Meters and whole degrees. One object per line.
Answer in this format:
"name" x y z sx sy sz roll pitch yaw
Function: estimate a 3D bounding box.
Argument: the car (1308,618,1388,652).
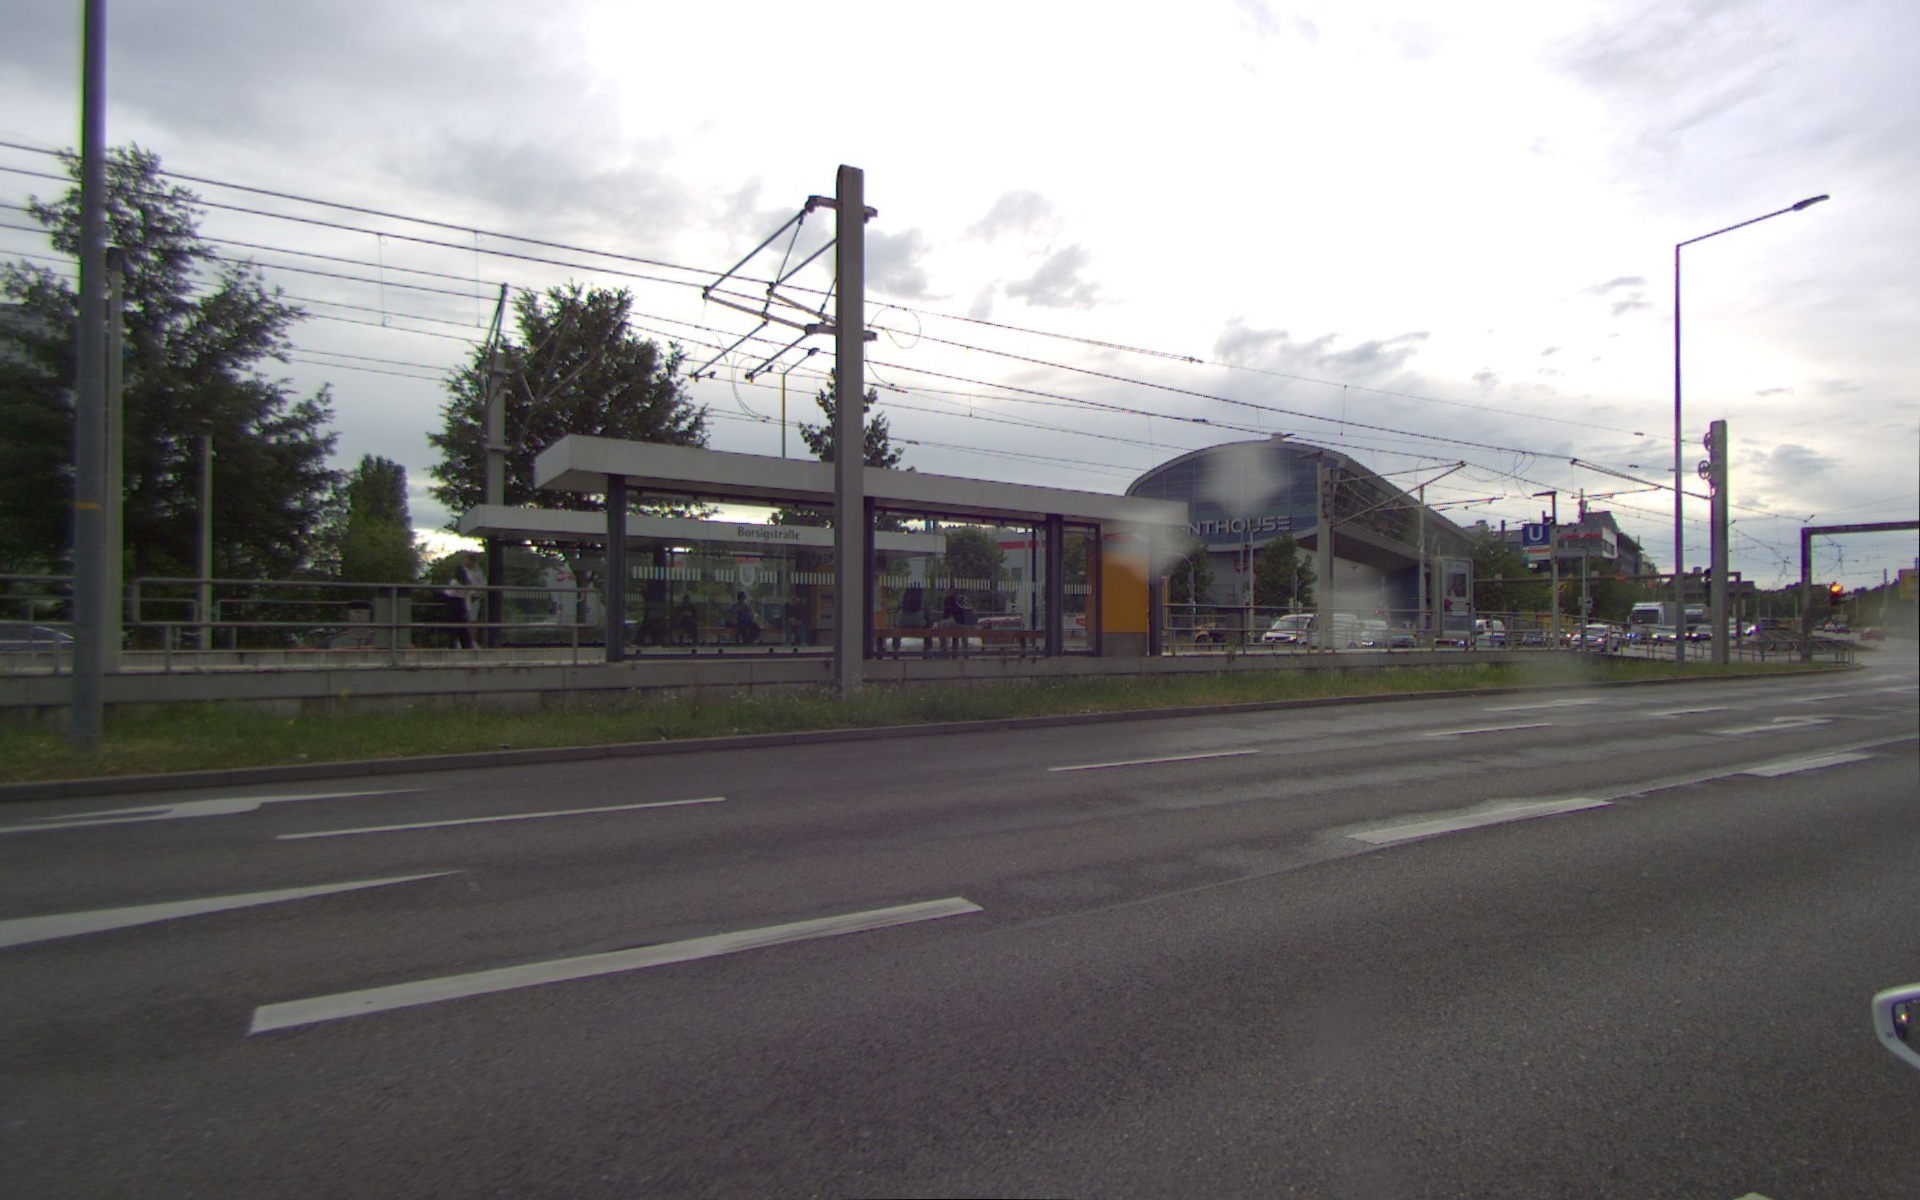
"car" 21.489 1.939 55.568 4.625 1.722 2.088 2 0 -39

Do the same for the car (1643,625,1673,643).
"car" 60.647 2.975 87.259 1.719 1.481 4.132 2 0 41

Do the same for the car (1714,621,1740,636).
"car" 87.543 3.260 114.654 1.867 1.674 4.070 2 0 44

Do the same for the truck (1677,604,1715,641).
"truck" 86.113 2.650 117.547 6.146 4.184 2.640 3 -3 -45

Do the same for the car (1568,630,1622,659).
"car" 38.853 2.723 61.390 4.233 1.688 1.515 2 0 -39

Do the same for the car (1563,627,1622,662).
"car" 38.818 2.731 61.583 4.311 2.040 1.758 2 0 -40

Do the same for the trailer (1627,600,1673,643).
"trailer" 70.423 2.186 102.365 2.762 4.161 11.388 -2 -2 40

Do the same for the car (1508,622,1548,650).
"car" 43.435 2.744 76.823 1.753 2.040 4.325 2 0 42

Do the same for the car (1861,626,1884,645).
"car" 105.365 4.099 115.964 1.752 2.040 4.326 2 0 41

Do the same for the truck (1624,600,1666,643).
"truck" 67.230 2.131 98.534 2.799 4.049 5.957 -1 -2 40

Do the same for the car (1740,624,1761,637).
"car" 106.903 4.104 135.833 1.883 1.576 4.539 2 0 43

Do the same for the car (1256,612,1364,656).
"car" 15.136 1.475 43.353 4.985 1.754 1.979 2 0 -38

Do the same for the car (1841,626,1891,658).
"car" 62.531 2.859 69.307 4.308 2.040 1.759 1 1 -38

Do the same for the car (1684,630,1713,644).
"car" 74.335 3.739 101.142 1.887 1.281 4.390 2 0 42

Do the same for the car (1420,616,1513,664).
"car" 25.406 2.017 50.318 5.094 2.244 1.980 2 0 -36

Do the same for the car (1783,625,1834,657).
"car" 57.472 2.769 68.038 4.308 2.040 1.759 1 1 -38
